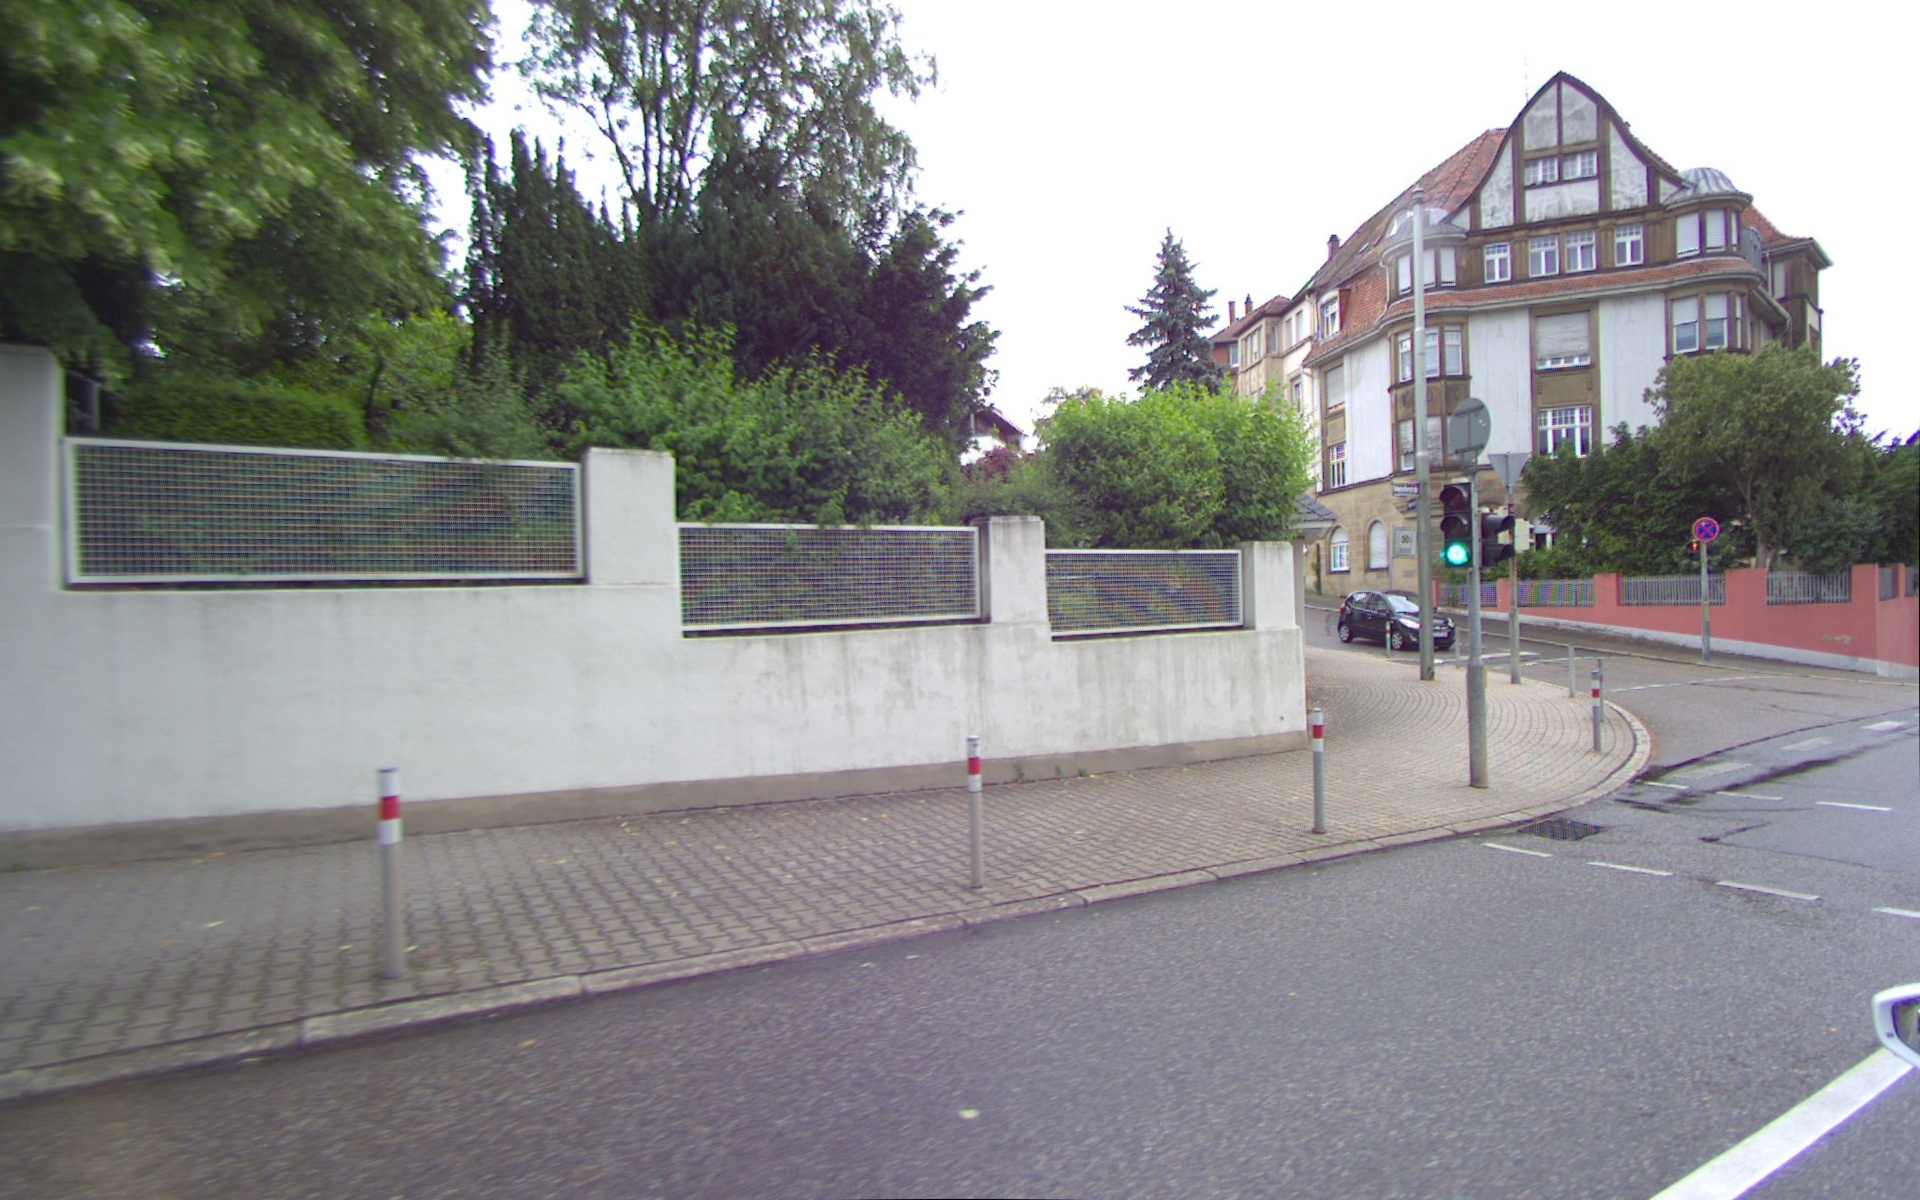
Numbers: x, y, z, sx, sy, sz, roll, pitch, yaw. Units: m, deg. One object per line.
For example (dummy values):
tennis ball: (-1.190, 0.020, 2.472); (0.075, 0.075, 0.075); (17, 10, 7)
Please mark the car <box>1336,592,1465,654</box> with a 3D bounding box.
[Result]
car: (12.156, 0.576, 27.926); (1.642, 1.458, 3.358); (-1, 3, -11)
